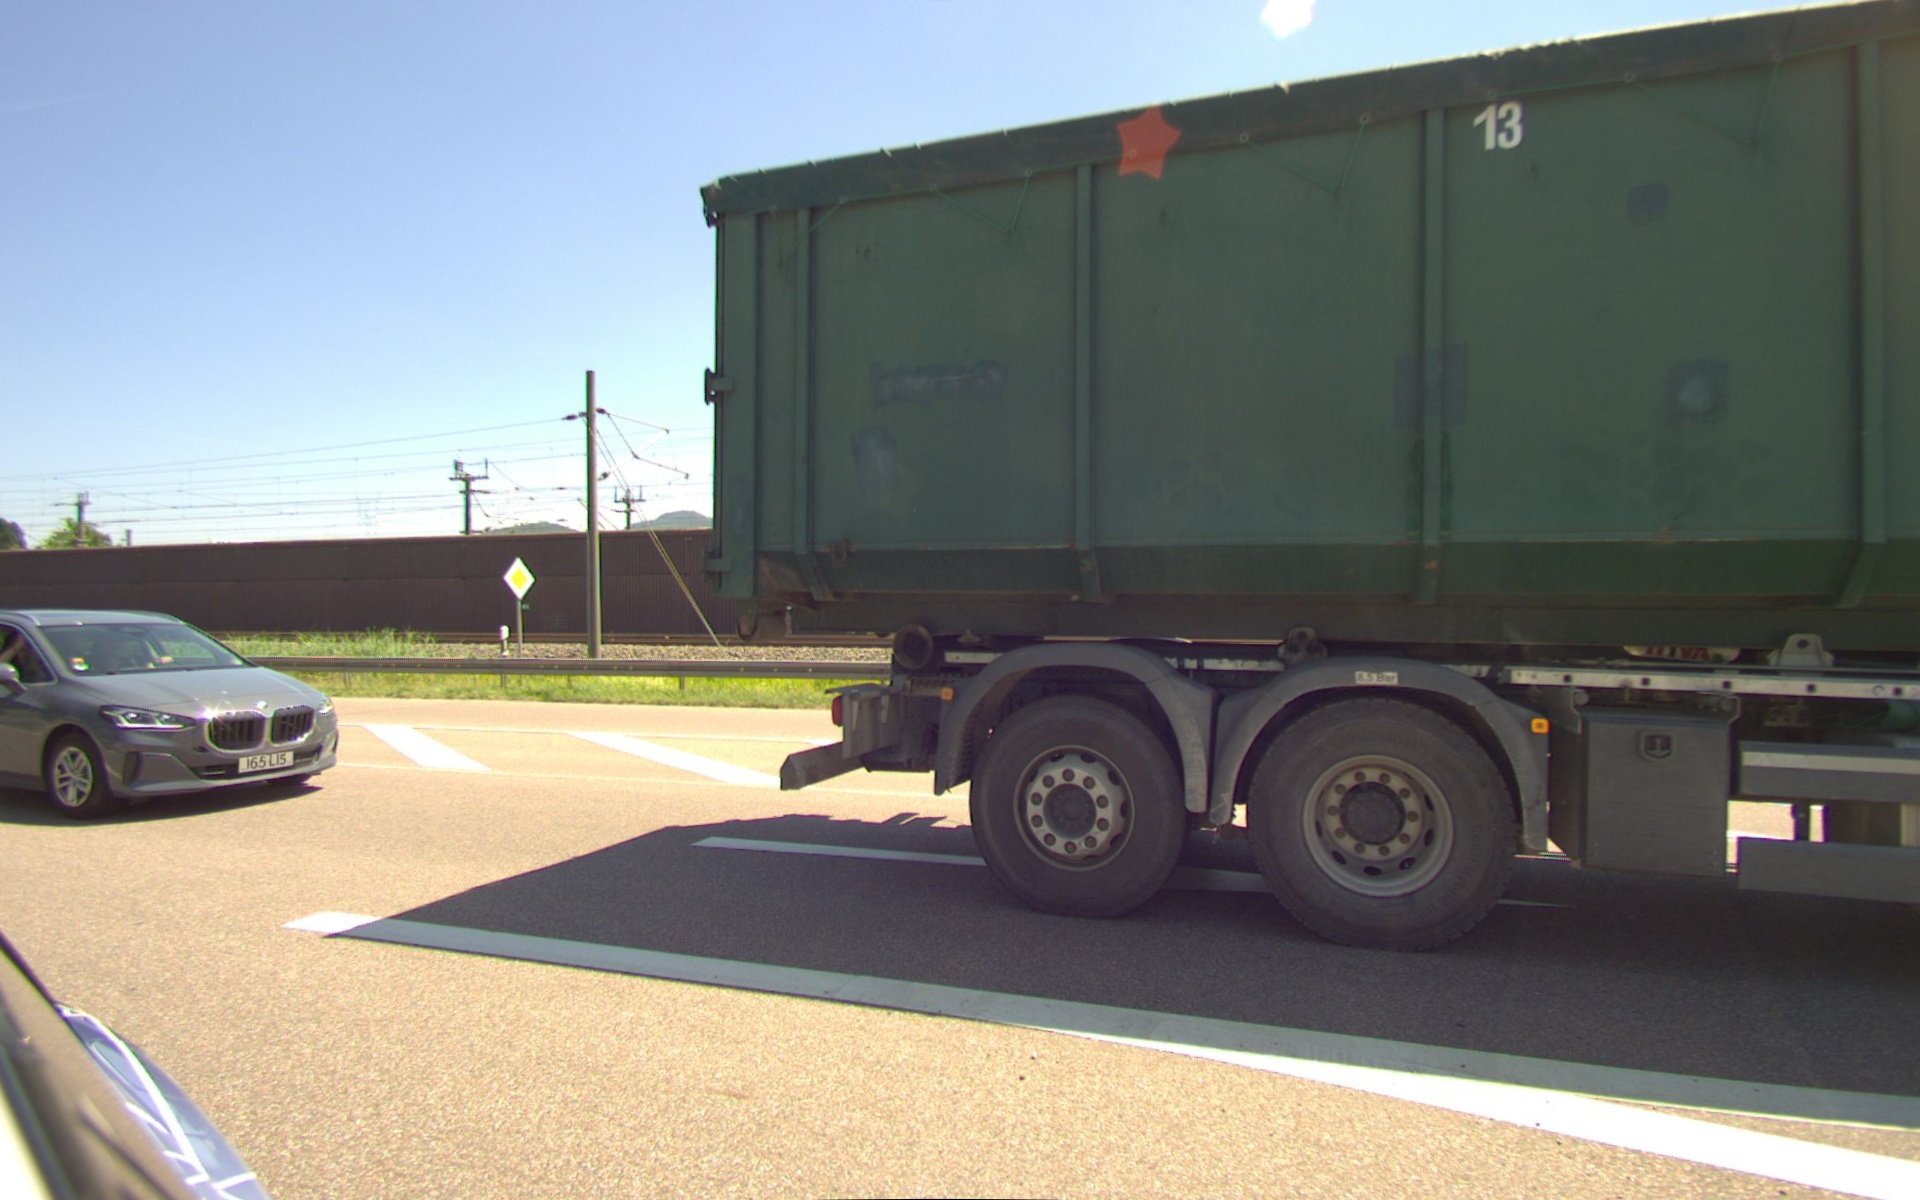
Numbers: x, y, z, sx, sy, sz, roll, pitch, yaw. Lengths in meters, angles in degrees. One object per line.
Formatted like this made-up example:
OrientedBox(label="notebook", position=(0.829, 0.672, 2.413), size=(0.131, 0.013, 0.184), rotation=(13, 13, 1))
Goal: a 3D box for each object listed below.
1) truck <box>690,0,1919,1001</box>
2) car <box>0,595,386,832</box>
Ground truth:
OrientedBox(label="truck", position=(3.474, -0.461, 4.887), size=(9.502, 3.766, 2.581), rotation=(-1, -1, 20))
OrientedBox(label="car", position=(-7.242, 0.819, 8.592), size=(4.192, 1.635, 1.839), rotation=(-1, -1, 19))
